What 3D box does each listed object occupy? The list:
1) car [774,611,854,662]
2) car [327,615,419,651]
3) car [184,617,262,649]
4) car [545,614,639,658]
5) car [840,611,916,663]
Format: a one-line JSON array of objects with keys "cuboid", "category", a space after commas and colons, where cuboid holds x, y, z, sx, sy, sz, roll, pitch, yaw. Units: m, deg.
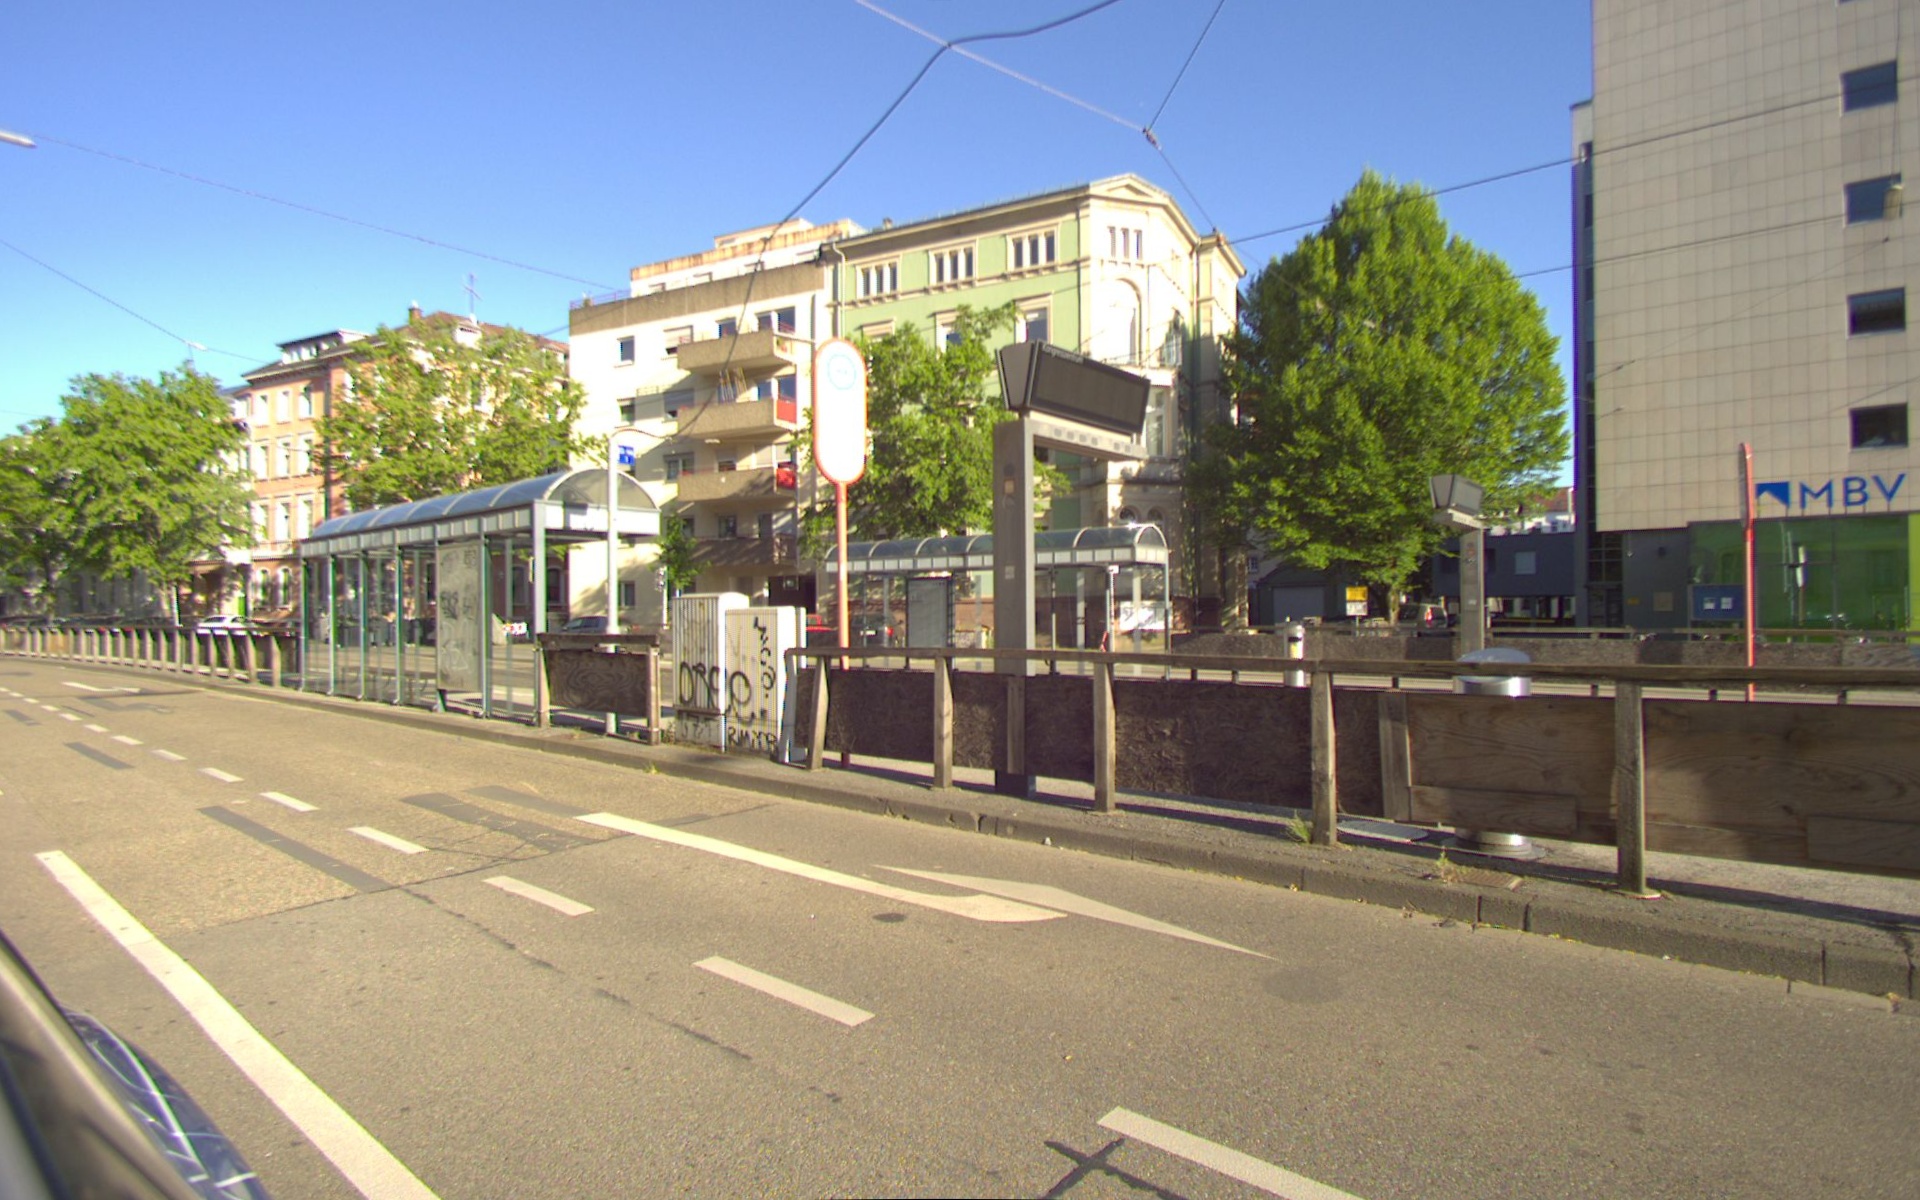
[{"cuboid": [-4.925, 1.213, 34.564, 1.614, 1.579, 3.588, -1, 0, 11], "category": "car"}, {"cuboid": [-28.403, 1.557, 49.053, 1.626, 1.579, 3.560, -1, 0, 33], "category": "car"}, {"cuboid": [-39.403, 1.737, 54.210, 1.607, 1.579, 3.601, -1, 0, -2], "category": "car"}, {"cuboid": [-14.037, 1.331, 38.516, 3.592, 1.579, 1.612, -1, 0, 35], "category": "car"}, {"cuboid": [-2.652, 1.183, 33.368, 1.614, 1.579, 3.588, -1, 0, 11], "category": "car"}]
